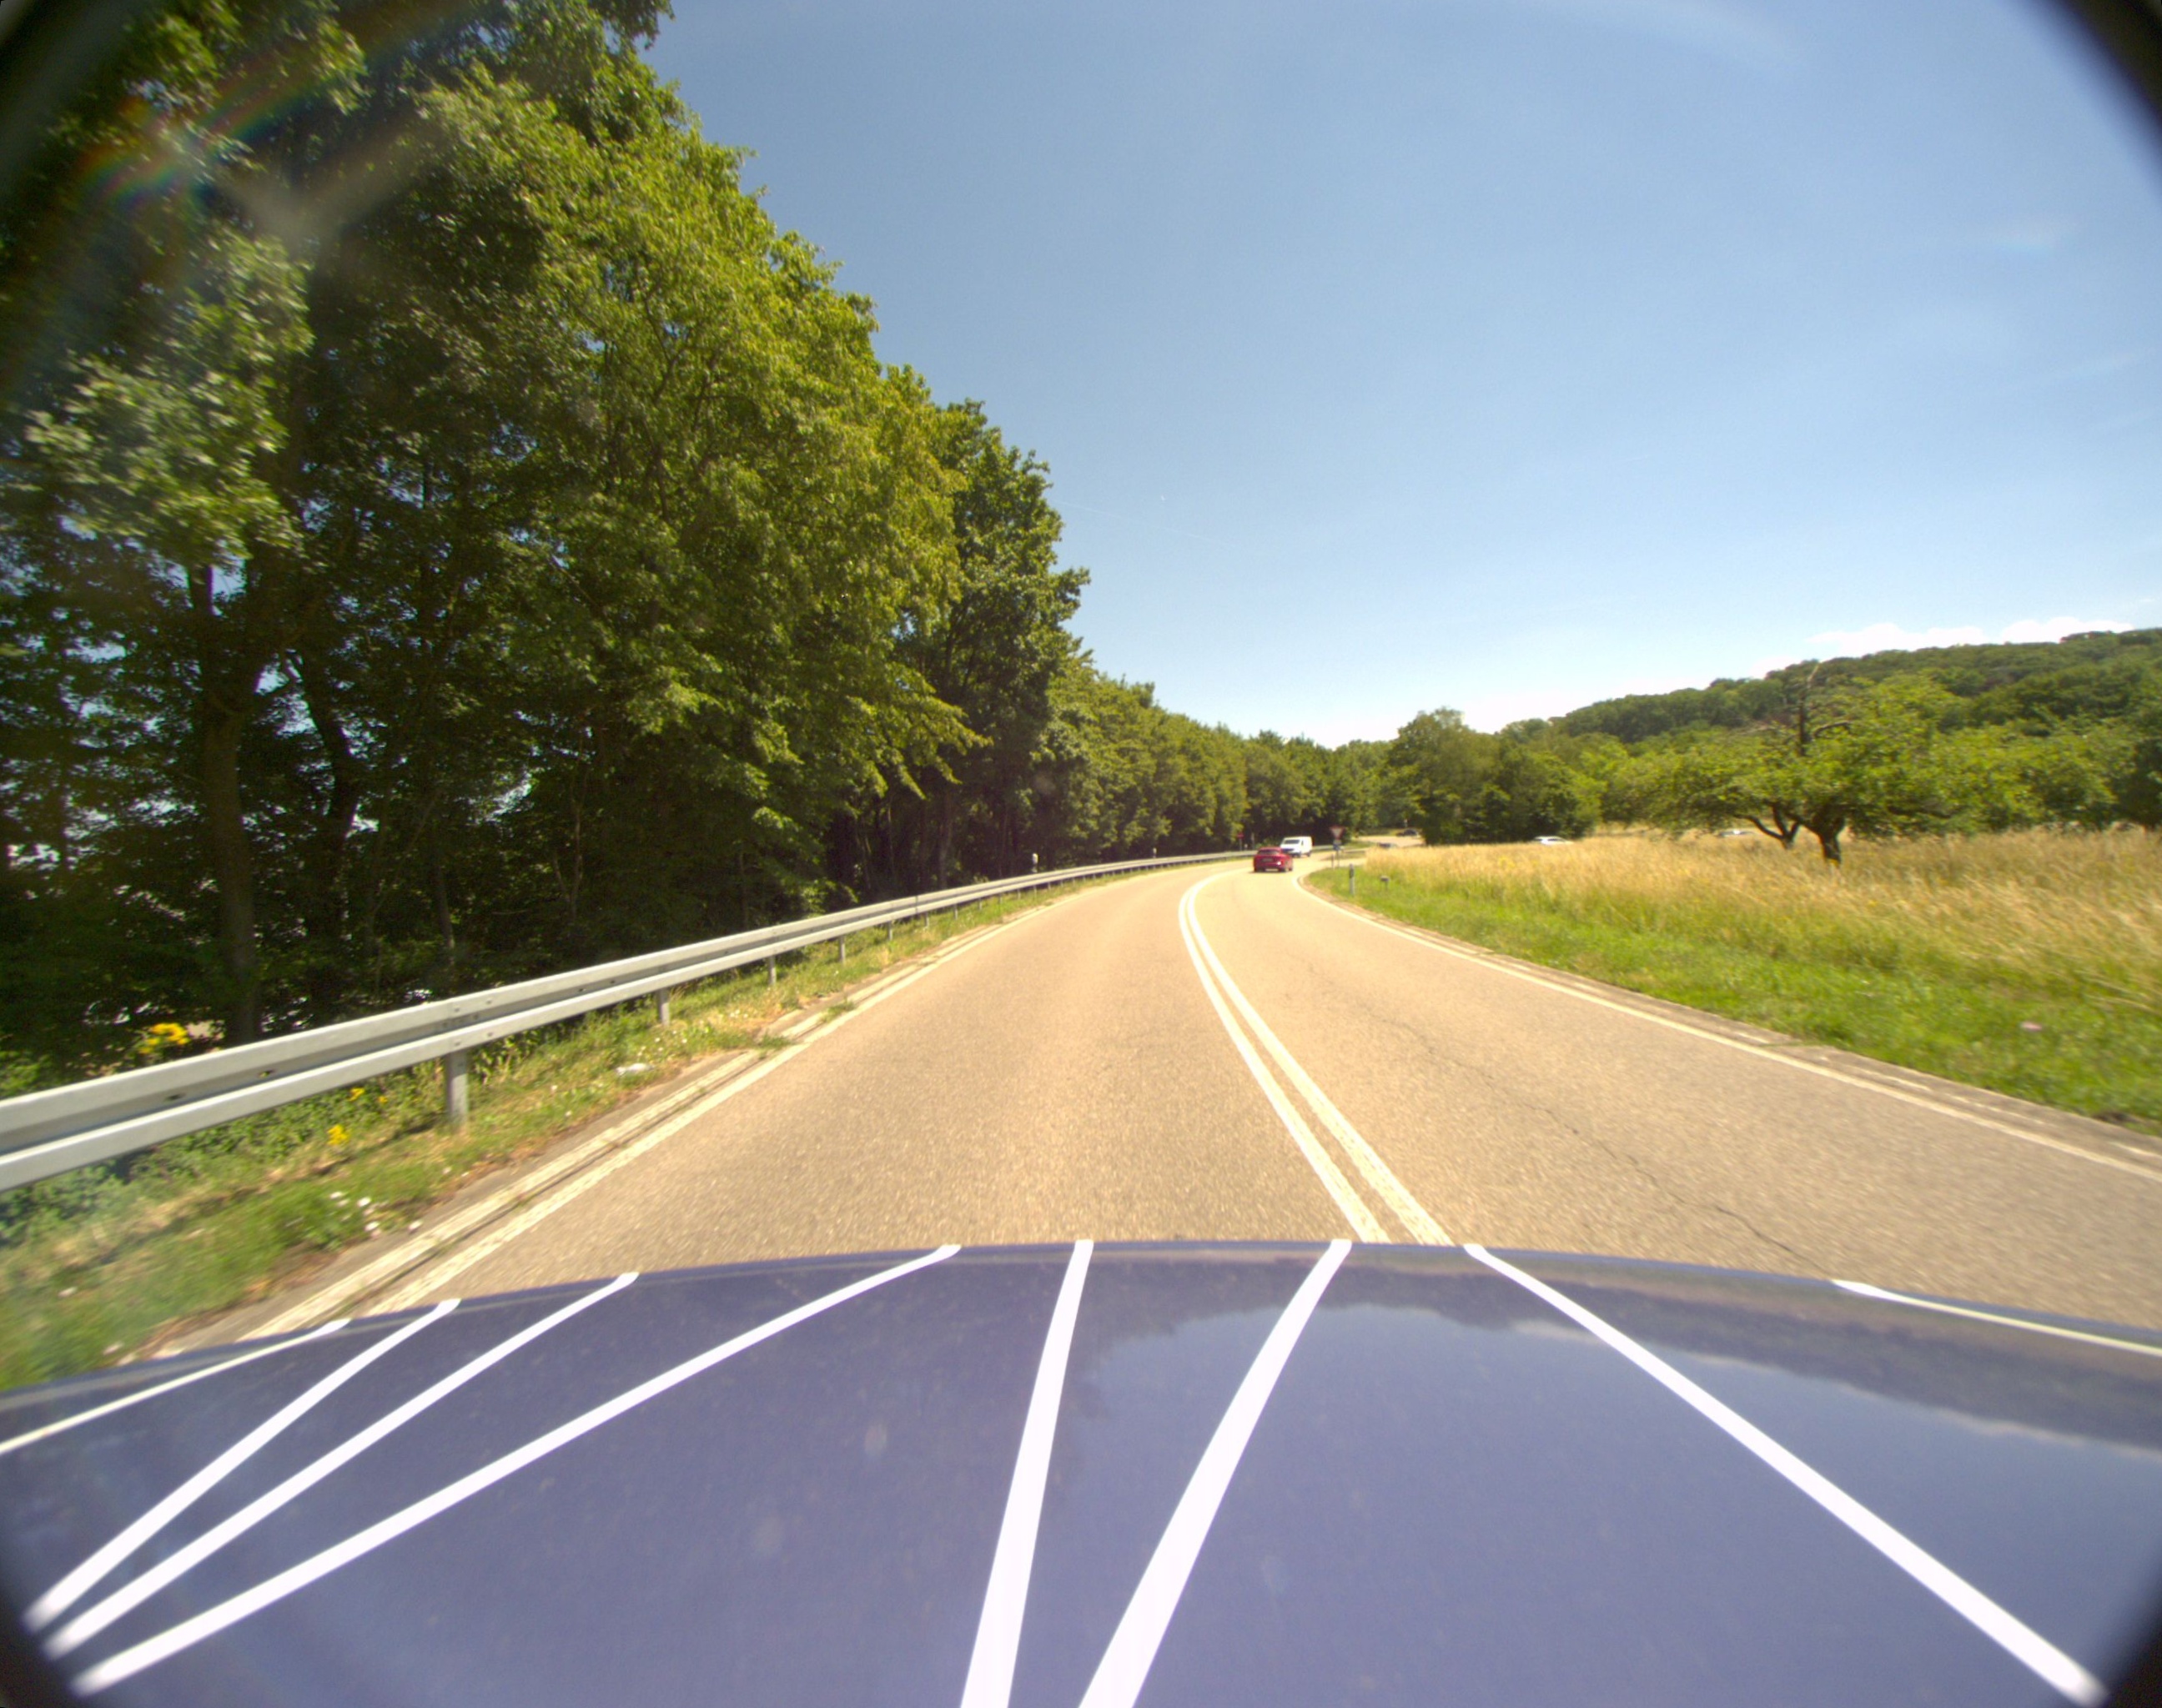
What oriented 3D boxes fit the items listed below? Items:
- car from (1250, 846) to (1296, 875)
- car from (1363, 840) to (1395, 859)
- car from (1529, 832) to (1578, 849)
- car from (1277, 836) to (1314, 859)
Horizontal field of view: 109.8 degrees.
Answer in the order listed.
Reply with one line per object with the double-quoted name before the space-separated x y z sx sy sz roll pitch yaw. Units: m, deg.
"car" 11.084 0.329 43.587 1.823 1.450 4.406 2 3 24
"car" 26.096 -0.432 66.437 1.736 1.498 4.080 -2 1 34
"car" 46.752 -1.367 75.202 4.222 1.582 1.824 0 3 -20
"car" 21.342 -0.641 75.296 2.220 2.021 5.436 -3 1 30
